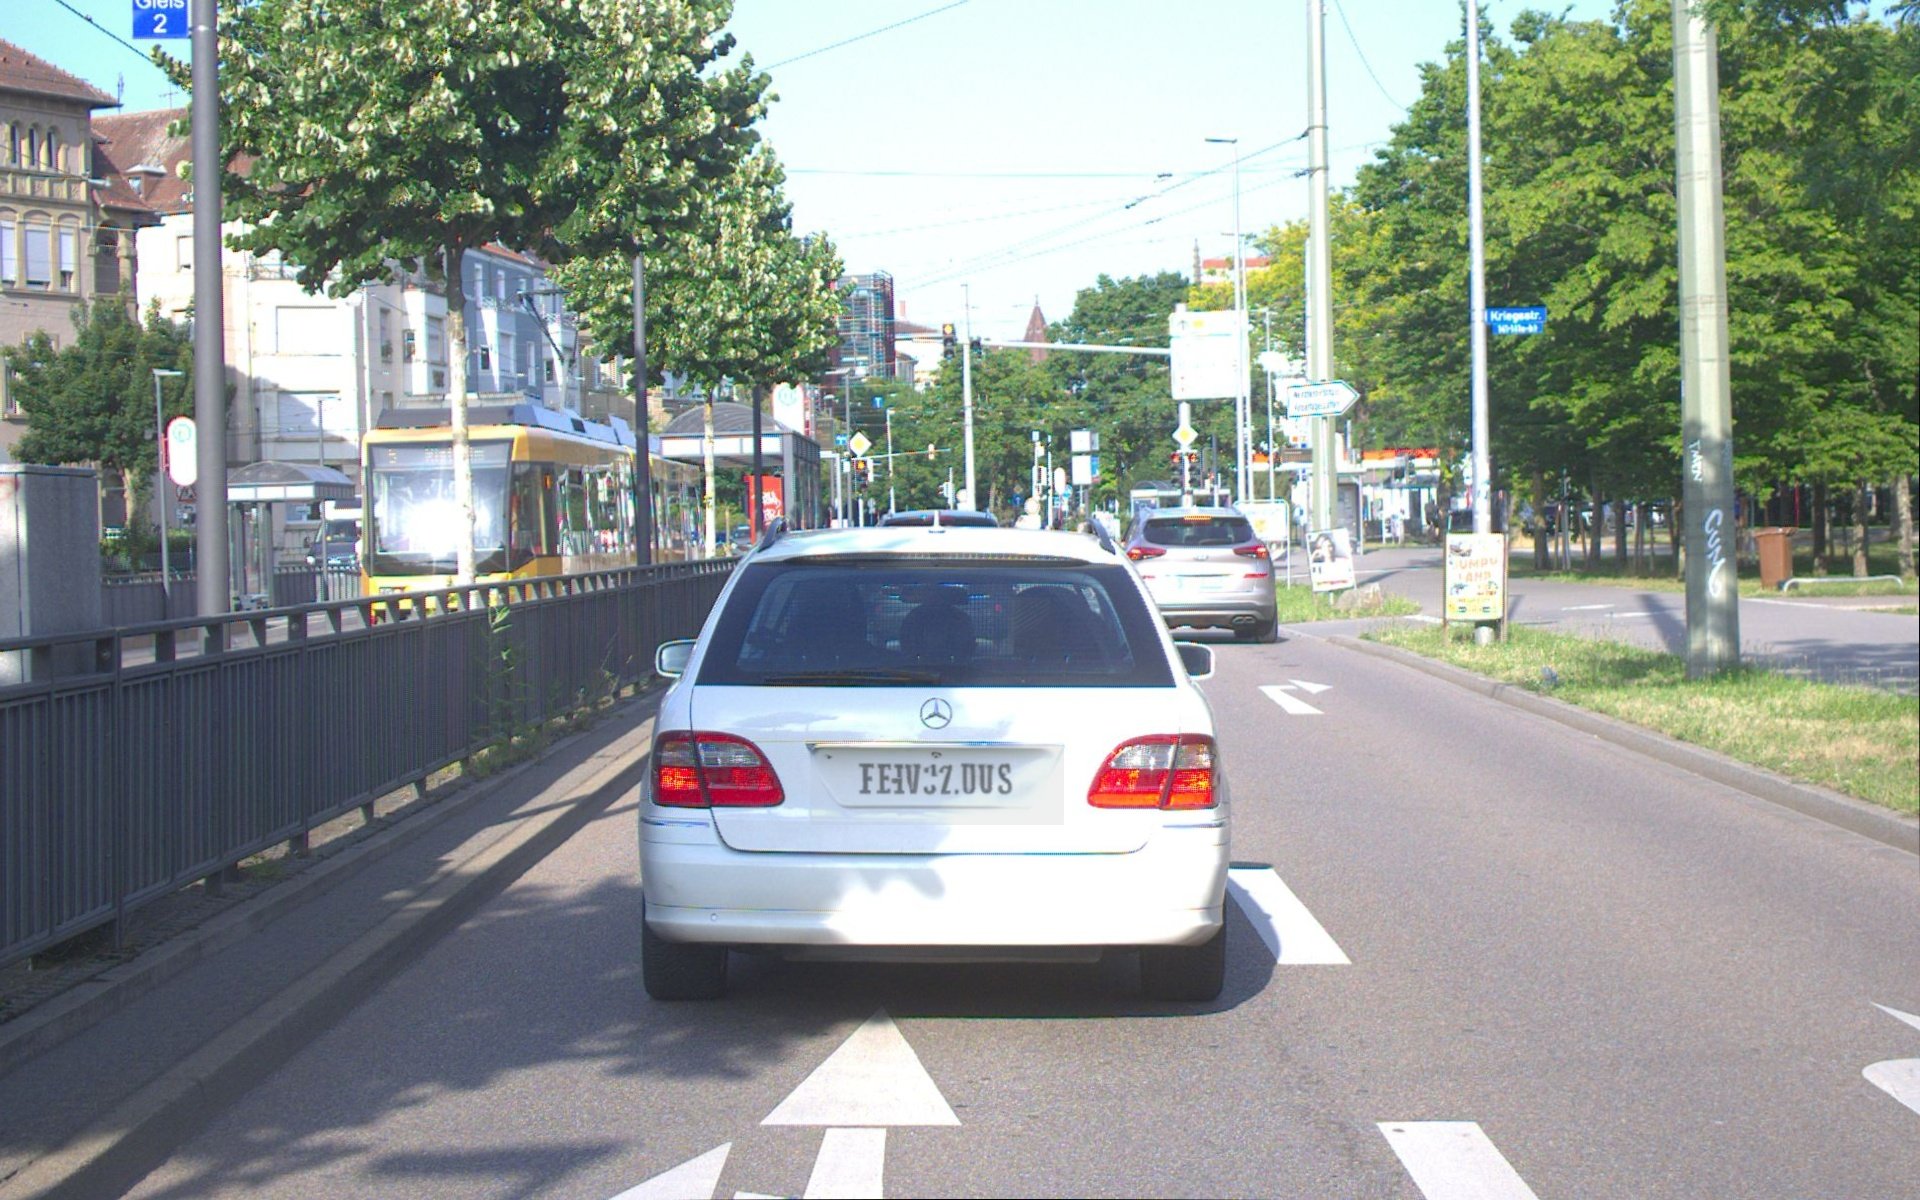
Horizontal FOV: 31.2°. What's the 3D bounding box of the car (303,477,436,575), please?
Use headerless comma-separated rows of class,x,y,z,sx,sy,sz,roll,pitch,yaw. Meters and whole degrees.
car,-17.195,-2.202,100.600,2.596,2.725,7.469,-1,2,0

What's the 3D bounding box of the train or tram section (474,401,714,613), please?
train or tram section,-6.519,-1.725,63.439,2.849,3.467,13.201,-1,2,1

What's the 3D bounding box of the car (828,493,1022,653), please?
car,-0.340,-0.347,38.511,1.787,1.684,4.000,-1,2,5

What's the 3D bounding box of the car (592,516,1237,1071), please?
car,-0.012,0.555,11.454,1.758,1.498,3.999,1,-1,3

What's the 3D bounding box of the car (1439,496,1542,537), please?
car,23.149,-3.638,150.022,3.992,1.645,1.997,-1,1,26

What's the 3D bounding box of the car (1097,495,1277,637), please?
car,2.748,-0.443,41.241,2.033,1.600,4.000,-1,2,5

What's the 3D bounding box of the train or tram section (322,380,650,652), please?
train or tram section,-6.635,-1.283,50.422,2.849,3.467,13.201,0,2,1

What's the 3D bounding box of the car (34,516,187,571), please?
car,-26.413,-1.778,107.039,2.206,1.622,4.711,0,2,24
